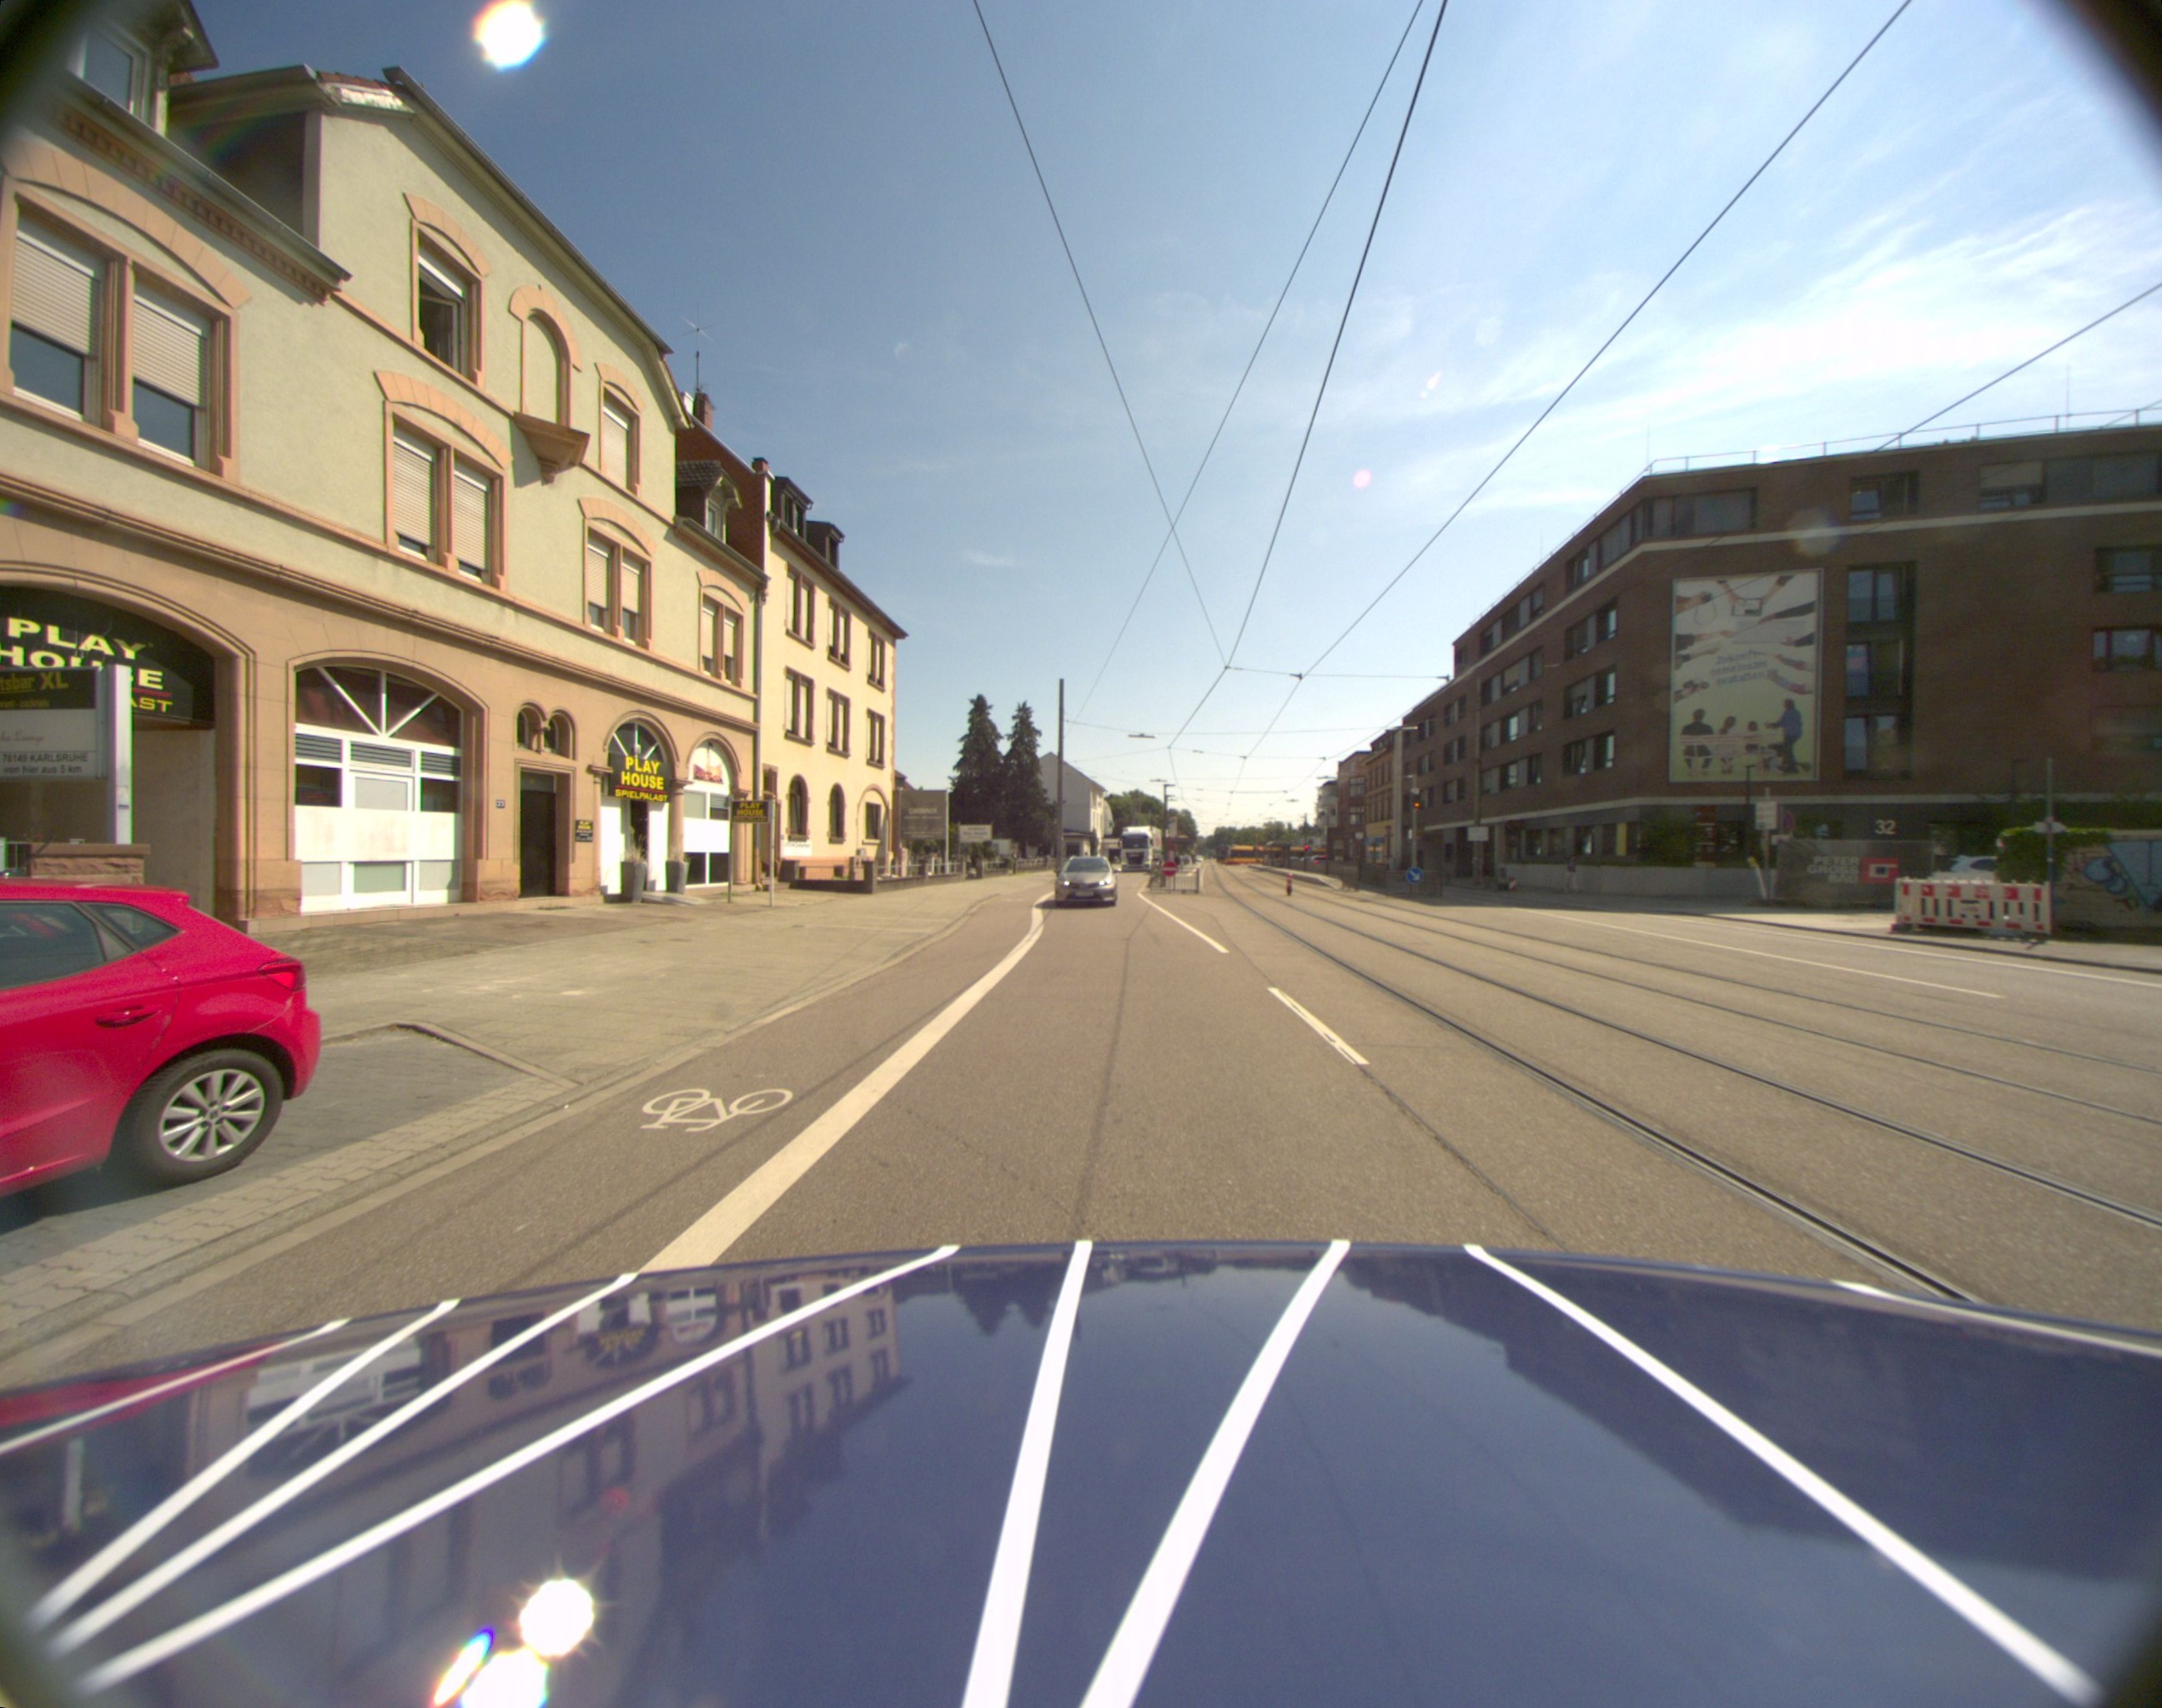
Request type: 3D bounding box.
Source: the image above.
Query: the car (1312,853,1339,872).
[{"bbox_3d":[22.707,0.787,70.821,1.804,1.718,4.192,-1,0,10],"label":"car"}]

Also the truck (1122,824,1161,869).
[{"bbox_3d":[5.444,-0.623,67.158,2.655,3.772,7.869,1,0,10],"label":"truck"}]

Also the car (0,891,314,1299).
[{"bbox_3d":[-5.005,0.951,1.876,1.726,1.435,4.313,2,0,3],"label":"car"}]

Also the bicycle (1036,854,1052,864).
[{"bbox_3d":[-4.272,0.595,87.981,1.687,1.104,0.513,1,0,11],"label":"bicycle"}]

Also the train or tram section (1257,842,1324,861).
[{"bbox_3d":[39.756,-0.483,144.033,13.354,3.460,2.683,0,0,-22],"label":"train or tram section"}]

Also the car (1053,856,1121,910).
[{"bbox_3d":[0.283,0.803,23.237,1.694,1.440,4.482,-1,0,5],"label":"car"}]

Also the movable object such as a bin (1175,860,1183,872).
[{"bbox_3d":[8.023,0.983,61.995,0.630,0.895,0.489,1,1,9],"label":"movable object such as a bin"}]

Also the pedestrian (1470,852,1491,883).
[{"bbox_3d":[23.383,0.770,44.504,0.846,1.808,0.839,0,0,10],"label":"pedestrian"}]

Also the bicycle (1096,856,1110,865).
[{"bbox_3d":[2.703,0.789,93.271,1.529,1.051,0.398,3,1,11],"label":"bicycle"}]

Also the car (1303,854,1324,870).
[{"bbox_3d":[24.150,0.834,78.997,1.715,1.613,3.581,-1,0,10],"label":"car"}]

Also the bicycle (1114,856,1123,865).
[{"bbox_3d":[5.177,0.873,104.225,0.511,1.127,1.694,1,0,27],"label":"bicycle"}]

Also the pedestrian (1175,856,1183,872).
[{"bbox_3d":[7.935,0.801,61.403,0.630,1.247,0.710,1,0,9],"label":"pedestrian"}]

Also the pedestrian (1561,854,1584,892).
[{"bbox_3d":[21.538,0.834,33.326,0.582,1.654,0.700,1,0,8],"label":"pedestrian"}]

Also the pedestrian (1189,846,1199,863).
[{"bbox_3d":[12.816,0.044,86.091,0.982,1.847,1.238,1,0,10],"label":"pedestrian"}]

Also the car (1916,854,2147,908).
[{"bbox_3d":[27.666,0.769,22.354,3.989,1.415,1.806,-2,0,42],"label":"car"}]

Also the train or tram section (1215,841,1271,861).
[{"bbox_3d":[29.314,-0.489,137.071,13.367,3.460,2.680,0,0,-43],"label":"train or tram section"}]
